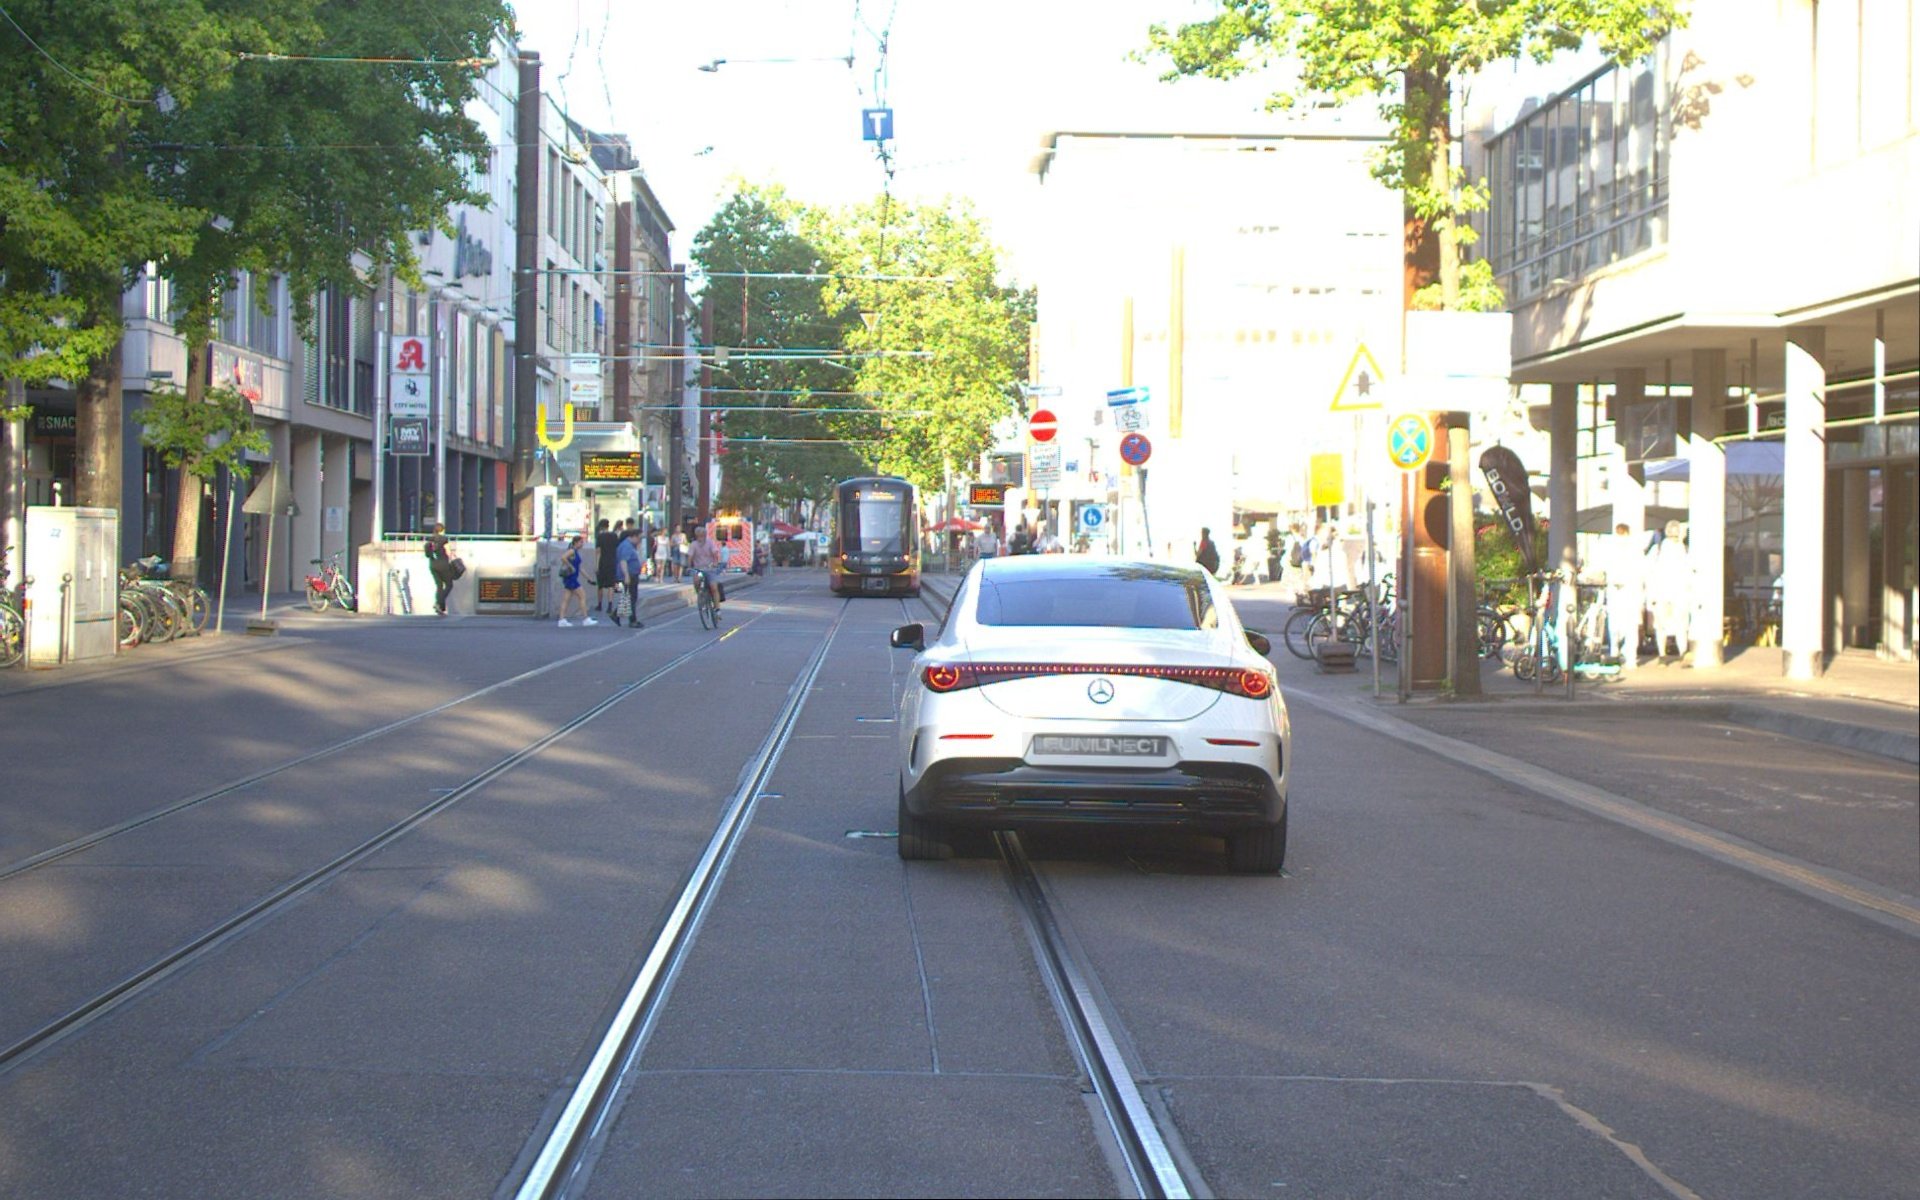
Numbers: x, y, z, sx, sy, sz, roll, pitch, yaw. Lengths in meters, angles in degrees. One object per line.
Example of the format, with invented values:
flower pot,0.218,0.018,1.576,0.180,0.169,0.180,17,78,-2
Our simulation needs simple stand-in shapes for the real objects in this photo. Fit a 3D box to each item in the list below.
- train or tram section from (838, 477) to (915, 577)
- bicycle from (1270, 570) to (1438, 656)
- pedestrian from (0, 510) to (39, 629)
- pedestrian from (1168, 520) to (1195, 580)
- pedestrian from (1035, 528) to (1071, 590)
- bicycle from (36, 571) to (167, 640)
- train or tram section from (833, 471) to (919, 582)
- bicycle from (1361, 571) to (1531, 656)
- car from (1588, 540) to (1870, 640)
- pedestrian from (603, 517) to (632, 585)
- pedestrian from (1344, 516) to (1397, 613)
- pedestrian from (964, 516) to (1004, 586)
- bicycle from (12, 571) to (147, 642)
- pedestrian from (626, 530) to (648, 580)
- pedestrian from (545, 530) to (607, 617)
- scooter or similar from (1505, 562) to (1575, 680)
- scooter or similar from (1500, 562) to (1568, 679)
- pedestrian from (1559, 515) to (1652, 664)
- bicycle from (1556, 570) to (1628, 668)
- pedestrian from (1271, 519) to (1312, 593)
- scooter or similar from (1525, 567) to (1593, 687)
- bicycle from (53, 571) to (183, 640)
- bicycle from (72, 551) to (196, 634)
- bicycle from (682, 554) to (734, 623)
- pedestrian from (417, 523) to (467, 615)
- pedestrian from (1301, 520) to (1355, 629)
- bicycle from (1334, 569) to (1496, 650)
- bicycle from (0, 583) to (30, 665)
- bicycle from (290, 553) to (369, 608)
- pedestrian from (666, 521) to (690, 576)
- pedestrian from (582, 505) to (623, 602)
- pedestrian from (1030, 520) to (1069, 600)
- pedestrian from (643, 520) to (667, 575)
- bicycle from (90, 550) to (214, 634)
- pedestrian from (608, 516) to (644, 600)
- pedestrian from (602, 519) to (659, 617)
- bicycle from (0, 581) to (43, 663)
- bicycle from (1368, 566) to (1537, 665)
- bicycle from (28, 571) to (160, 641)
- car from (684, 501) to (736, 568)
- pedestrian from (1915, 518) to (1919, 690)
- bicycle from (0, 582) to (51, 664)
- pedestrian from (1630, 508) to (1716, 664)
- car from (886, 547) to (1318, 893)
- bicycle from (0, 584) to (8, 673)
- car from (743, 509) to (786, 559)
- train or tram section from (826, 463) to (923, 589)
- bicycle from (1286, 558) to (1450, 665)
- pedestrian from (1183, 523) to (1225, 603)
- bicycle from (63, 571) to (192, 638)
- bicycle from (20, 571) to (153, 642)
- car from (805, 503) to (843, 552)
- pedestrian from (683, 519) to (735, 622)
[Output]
train or tram section,-3.073,-2.687,127.352,2.694,3.504,11.144,0,1,-1
bicycle,5.219,0.169,45.529,2.113,1.092,0.610,1,1,-12
pedestrian,-14.224,-0.465,51.212,0.723,1.755,0.818,0,1,-36
pedestrian,6.617,-1.487,102.595,0.727,1.779,0.708,1,1,-2
pedestrian,2.688,-1.194,99.500,0.960,1.779,0.804,-1,1,-2
bicycle,-10.453,0.063,41.870,1.492,0.780,0.344,2,1,0
train or tram section,-2.816,-2.453,115.515,2.694,3.504,12.546,0,1,-1
bicycle,6.346,0.167,44.877,2.113,1.092,0.610,0,1,-14
car,11.564,-0.158,51.804,3.801,1.468,1.649,0,1,-6
pedestrian,-7.811,-1.126,78.420,0.615,1.539,0.651,0,1,-3
pedestrian,7.638,-0.664,64.046,0.840,1.779,0.804,-1,1,-2
pedestrian,0.617,-1.259,87.851,0.960,1.779,0.804,-1,1,-2
bicycle,-10.447,0.076,40.795,1.492,0.780,0.344,2,1,0
pedestrian,-10.213,-1.422,108.606,0.660,1.593,0.573,0,1,-2
pedestrian,-6.617,-0.464,59.314,0.955,1.491,0.944,1,1,0
scooter or similar,6.363,0.226,37.725,0.527,1.273,0.660,-1,1,-12
scooter or similar,6.387,0.217,38.262,0.527,1.273,0.660,-1,1,-12
pedestrian,7.767,-0.128,41.415,0.899,1.739,0.690,-3,1,-2
bicycle,7.605,0.216,41.410,0.564,1.124,1.929,-1,1,2
pedestrian,7.664,-1.024,79.560,0.817,1.679,0.804,-1,1,-2
scooter or similar,6.461,0.284,37.077,0.491,1.273,0.660,-1,1,-12
bicycle,-10.338,0.066,42.234,1.492,0.780,0.344,2,1,0
bicycle,-10.460,-0.095,43.558,1.492,1.006,0.345,2,1,-11
bicycle,-4.417,-0.207,60.377,0.800,1.138,2.257,2,1,-3
pedestrian,-9.717,-0.585,64.478,0.837,1.711,0.785,0,1,-3
pedestrian,6.089,-0.423,56.920,0.748,1.779,0.767,-1,1,-2
bicycle,6.227,0.128,47.074,2.113,1.092,0.610,0,1,-12
bicycle,-9.818,0.210,33.312,1.492,0.780,0.344,2,1,0
bicycle,-11.939,-0.370,65.174,0.719,1.006,2.038,1,1,13
pedestrian,-8.228,-1.514,100.300,0.660,1.593,0.573,0,1,-2
pedestrian,-7.106,-0.928,68.329,0.540,1.922,0.571,1,1,43
pedestrian,1.929,-0.867,74.253,0.746,1.692,0.840,0,1,-4
pedestrian,-8.882,-1.525,100.215,0.660,1.593,0.573,0,1,-2
bicycle,-10.336,-0.105,43.998,1.492,1.025,0.345,2,1,-11
pedestrian,-7.049,-0.891,72.574,0.550,1.754,0.520,1,1,27
pedestrian,-5.767,-0.566,60.207,0.905,1.692,0.849,1,1,0
bicycle,-9.572,0.217,34.902,0.343,0.780,1.405,2,1,-9
bicycle,5.970,0.182,41.686,1.907,1.152,0.610,-1,1,-12
bicycle,-10.454,0.071,41.509,1.492,0.780,0.344,2,1,0
car,-11.125,-2.919,153.229,1.993,2.887,5.275,0,1,-1
pedestrian,9.498,0.048,32.608,0.637,1.647,0.781,1,1,0
bicycle,-9.774,0.204,33.929,1.492,0.780,0.344,2,1,0
pedestrian,8.505,-0.170,41.024,0.701,1.806,1.033,-3,1,-2
car,0.593,0.495,17.177,1.857,1.450,4.175,2,1,-1
bicycle,-9.819,0.249,32.561,1.492,0.838,0.344,2,1,0
car,-9.759,-3.297,172.116,1.910,2.452,5.275,0,1,-1
train or tram section,-2.550,-2.201,102.966,2.694,3.504,12.546,0,1,-1
bicycle,5.046,0.134,42.540,1.907,1.277,0.610,-1,1,-12
pedestrian,5.106,-0.782,71.956,0.838,1.656,0.785,1,1,1
bicycle,-10.313,0.053,42.604,1.492,0.780,0.344,2,1,0
bicycle,-10.452,0.076,41.150,1.492,0.780,0.344,2,1,0
car,-8.051,-4.296,204.181,2.099,2.887,5.275,0,1,-1
pedestrian,-4.400,-0.524,60.339,0.800,1.776,0.849,2,1,-2
